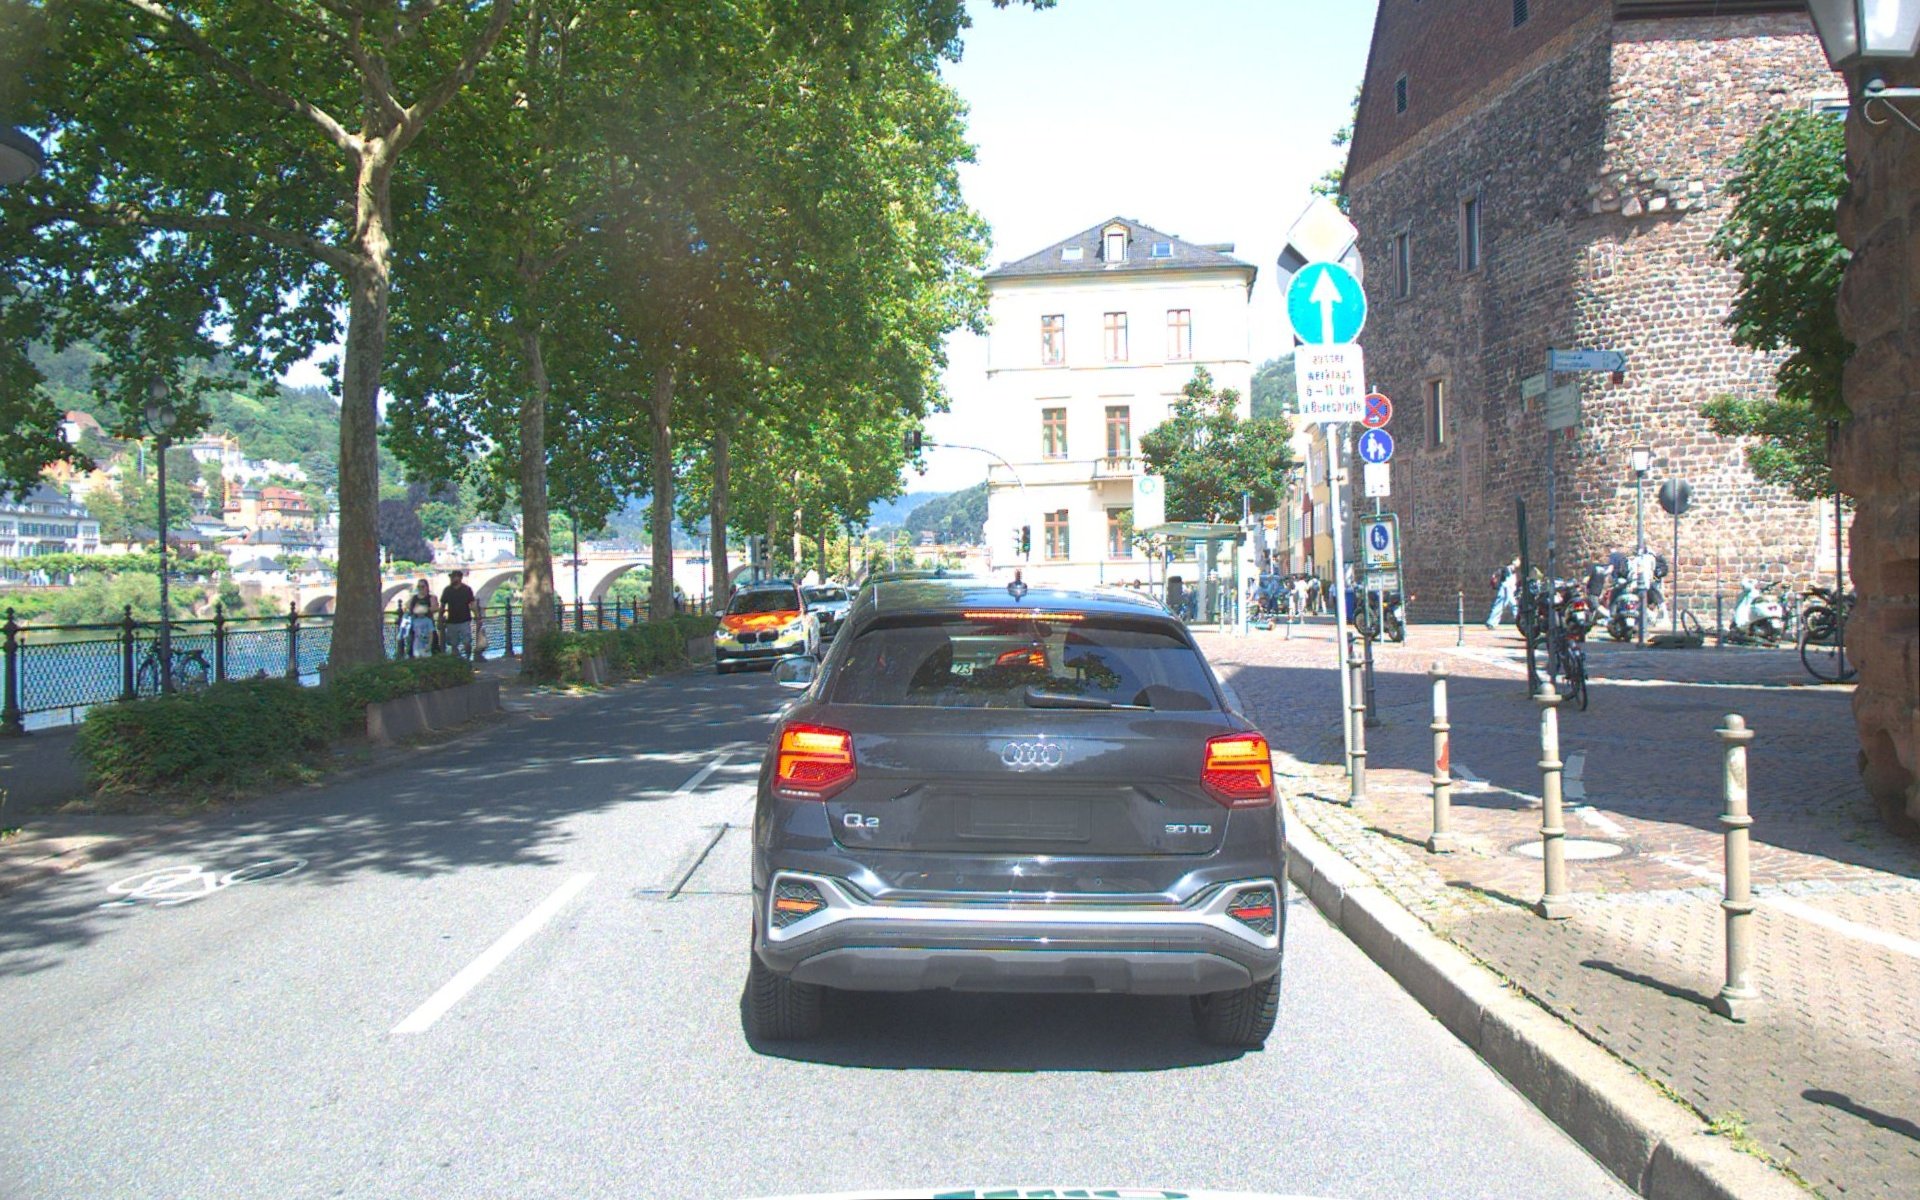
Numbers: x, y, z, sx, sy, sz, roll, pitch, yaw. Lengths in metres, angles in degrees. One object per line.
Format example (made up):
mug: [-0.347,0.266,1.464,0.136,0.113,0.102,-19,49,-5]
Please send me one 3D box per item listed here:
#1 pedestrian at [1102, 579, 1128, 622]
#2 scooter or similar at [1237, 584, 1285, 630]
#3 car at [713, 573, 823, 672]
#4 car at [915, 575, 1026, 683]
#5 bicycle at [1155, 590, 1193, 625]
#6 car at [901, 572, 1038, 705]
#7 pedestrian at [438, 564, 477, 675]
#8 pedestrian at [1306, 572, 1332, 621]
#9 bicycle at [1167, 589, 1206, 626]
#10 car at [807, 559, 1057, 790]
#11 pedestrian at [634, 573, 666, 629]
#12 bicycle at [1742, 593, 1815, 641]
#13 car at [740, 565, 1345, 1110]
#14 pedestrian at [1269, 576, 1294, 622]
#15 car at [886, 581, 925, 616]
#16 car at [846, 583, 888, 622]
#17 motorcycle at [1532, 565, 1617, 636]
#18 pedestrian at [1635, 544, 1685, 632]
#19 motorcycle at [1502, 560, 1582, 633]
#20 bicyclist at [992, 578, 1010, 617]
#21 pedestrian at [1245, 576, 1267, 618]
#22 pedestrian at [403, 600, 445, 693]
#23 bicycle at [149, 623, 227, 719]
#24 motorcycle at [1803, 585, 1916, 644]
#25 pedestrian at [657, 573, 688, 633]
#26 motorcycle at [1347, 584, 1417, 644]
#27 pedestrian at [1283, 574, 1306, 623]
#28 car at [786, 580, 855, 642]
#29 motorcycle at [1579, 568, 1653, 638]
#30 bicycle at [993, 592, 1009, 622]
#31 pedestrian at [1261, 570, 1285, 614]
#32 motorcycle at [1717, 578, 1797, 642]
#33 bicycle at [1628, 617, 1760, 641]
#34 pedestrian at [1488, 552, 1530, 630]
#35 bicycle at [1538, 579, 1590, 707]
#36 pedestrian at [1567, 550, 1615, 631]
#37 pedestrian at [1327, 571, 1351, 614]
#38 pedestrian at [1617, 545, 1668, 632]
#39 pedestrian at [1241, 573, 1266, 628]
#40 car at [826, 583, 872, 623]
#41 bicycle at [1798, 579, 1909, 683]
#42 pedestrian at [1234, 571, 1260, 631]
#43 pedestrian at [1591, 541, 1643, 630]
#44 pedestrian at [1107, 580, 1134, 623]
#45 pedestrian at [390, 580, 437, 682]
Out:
pedestrian: [4.579,0.011,48.881,0.651,1.253,0.640,1,-1,-7]
scooter or similar: [7.187,0.169,39.484,1.067,1.084,0.323,1,-1,-3]
car: [-3.651,0.391,32.128,1.639,1.689,4.222,-3,0,-1]
car: [0.143,0.450,28.514,1.758,1.711,3.999,1,0,-1]
bicycle: [6.426,0.214,49.649,1.166,1.033,0.178,1,-1,-20]
car: [0.088,0.458,22.118,1.676,1.637,3.654,0,0,-1]
pedestrian: [-8.808,0.337,28.983,0.523,1.920,0.436,-1,0,-1]
pedestrian: [15.293,-0.145,70.535,0.921,2.049,0.807,1,-1,0]
bicycle: [6.709,0.222,49.036,1.184,1.053,0.178,1,-1,-20]
car: [-0.221,0.521,13.502,1.756,1.623,3.398,1,0,-1]
pedestrian: [-10.268,0.034,54.747,0.891,1.843,0.586,1,-1,3]
bicycle: [15.126,0.298,30.612,0.346,0.835,1.926,1,1,-2]
car: [0.213,0.662,6.561,1.707,1.535,3.646,1,1,-1]
pedestrian: [14.440,-0.047,74.349,0.925,2.049,0.807,1,-1,-1]
car: [-2.955,-0.067,90.461,1.952,1.838,4.000,1,0,1]
car: [-4.697,0.096,83.746,1.777,1.754,4.421,-6,1,-1]
motorcycle: [11.371,0.021,30.684,0.661,1.257,2.312,1,0,-1]
pedestrian: [15.764,-0.261,37.258,0.662,1.954,0.811,1,-1,-34]
motorcycle: [10.592,-0.052,30.169,0.642,1.288,2.199,0,0,-1]
bicyclist: [1.562,-0.091,62.476,0.593,1.475,0.590,1,-1,-6]
pedestrian: [11.509,-0.134,64.357,0.760,1.591,0.646,-2,0,4]
pedestrian: [-8.121,0.698,25.054,0.469,1.386,0.417,0,0,3]
bicycle: [-9.534,0.858,20.453,0.352,1.110,1.295,2,0,-2]
motorcycle: [16.973,0.266,31.228,1.826,1.072,0.480,1,-1,7]
pedestrian: [-9.916,0.106,57.098,0.891,2.049,0.586,1,-1,3]
motorcycle: [7.692,0.231,30.228,0.555,1.030,2.489,-1,1,-2]
pedestrian: [14.251,-0.059,70.499,0.822,2.049,0.738,1,-1,-1]
car: [-4.084,0.299,48.967,1.733,1.689,3.999,-3,0,-1]
motorcycle: [12.199,0.056,30.801,0.535,1.257,2.030,1,0,-1]
bicycle: [1.549,0.253,62.516,0.428,1.105,1.675,1,0,-5]
pedestrian: [11.897,-0.297,62.868,0.760,1.649,0.645,-2,0,1]
motorcycle: [14.129,0.179,29.360,0.496,1.092,1.839,1,0,-1]
bicycle: [12.275,0.487,27.732,1.887,0.388,0.918,0,-1,14]
pedestrian: [12.006,-0.194,36.149,0.791,1.691,0.656,-1,0,23]
bicycle: [6.139,0.401,16.843,0.189,1.225,1.771,0,1,10]
pedestrian: [14.564,-0.217,38.202,0.643,1.834,0.841,0,0,-23]
pedestrian: [14.691,-0.292,64.158,0.677,1.640,0.891,-2,0,26]
pedestrian: [15.210,-0.247,36.849,0.662,1.917,0.812,1,-1,-32]
pedestrian: [7.589,0.019,42.760,0.546,1.409,0.588,1,-1,1]
car: [-4.890,0.123,72.998,1.703,1.599,4.091,-4,1,-1]
bicycle: [10.643,0.347,19.754,0.437,1.182,1.731,-1,1,3]
pedestrian: [9.412,0.036,54.267,0.732,1.923,0.752,1,-1,1]
pedestrian: [15.385,-0.336,38.717,0.722,2.049,0.869,1,-1,-29]
pedestrian: [4.664,0.035,48.176,0.651,1.233,0.640,1,-1,-7]
pedestrian: [-9.378,0.522,28.385,0.589,1.715,0.583,-1,0,-2]
